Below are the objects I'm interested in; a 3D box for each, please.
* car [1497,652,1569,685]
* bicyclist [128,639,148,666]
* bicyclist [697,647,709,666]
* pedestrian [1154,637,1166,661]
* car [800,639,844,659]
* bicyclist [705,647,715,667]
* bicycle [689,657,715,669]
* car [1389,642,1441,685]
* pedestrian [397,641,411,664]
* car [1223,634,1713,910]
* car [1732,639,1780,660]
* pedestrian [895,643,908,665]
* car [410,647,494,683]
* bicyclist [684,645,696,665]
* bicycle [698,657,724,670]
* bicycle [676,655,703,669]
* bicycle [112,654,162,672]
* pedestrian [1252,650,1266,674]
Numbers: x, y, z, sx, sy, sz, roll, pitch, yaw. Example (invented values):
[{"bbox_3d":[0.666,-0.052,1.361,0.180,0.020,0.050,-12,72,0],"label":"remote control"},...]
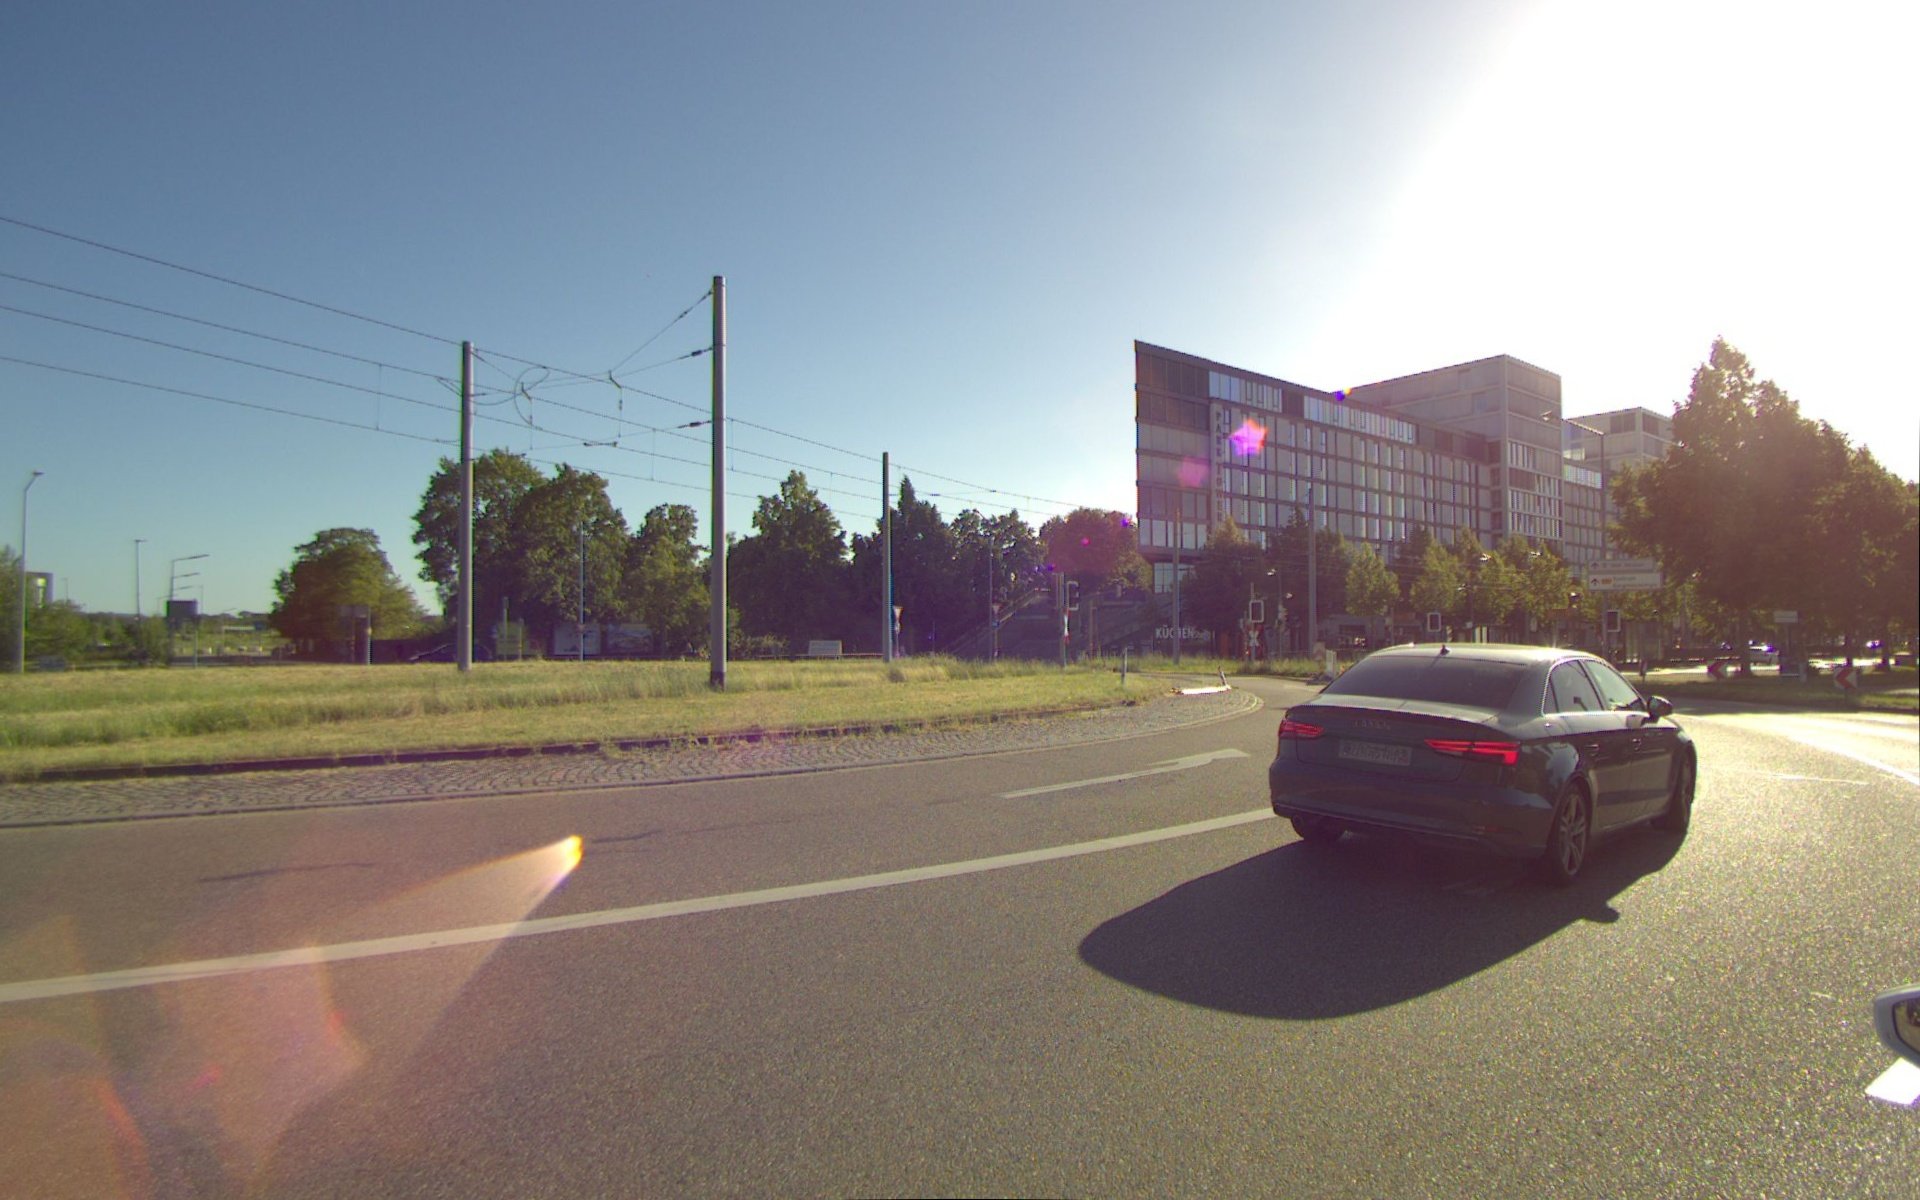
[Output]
[{"bbox_3d":[30.469,3.618,53.377,4.373,1.595,1.977,1,-3,-41],"label":"car"},{"bbox_3d":[-49.546,3.167,60.550,0.827,1.601,0.656,1,-2,-36],"label":"bicyclist"},{"bbox_3d":[-19.171,4.215,74.883,0.824,1.410,0.615,0,-2,-17],"label":"bicyclist"},{"bbox_3d":[17.423,4.250,87.303,0.826,2.040,0.633,2,-2,-36],"label":"pedestrian"},{"bbox_3d":[-12.838,4.579,93.492,3.668,1.829,1.840,-1,-2,7],"label":"car"},{"bbox_3d":[-18.442,4.212,74.174,0.707,1.410,0.615,0,-2,-17],"label":"bicyclist"},{"bbox_3d":[-19.242,4.693,74.861,1.858,0.864,0.615,0,-2,-17],"label":"bicycle"},{"bbox_3d":[18.035,2.466,39.829,1.774,1.481,3.806,0,0,25],"label":"car"},{"bbox_3d":[-50.164,4.744,90.556,0.895,2.040,0.808,3,-3,-43],"label":"pedestrian"},{"bbox_3d":[3.899,0.969,7.340,4.325,1.398,1.745,1,-2,-42],"label":"car"},{"bbox_3d":[62.789,3.890,79.228,4.370,1.595,1.978,1,-3,-39],"label":"car"},{"bbox_3d":[-4.584,4.234,78.656,0.749,1.650,0.881,0,-2,-20],"label":"pedestrian"},{"bbox_3d":[-26.881,3.398,53.252,3.864,1.808,1.764,1,-2,-25],"label":"car"},{"bbox_3d":[-20.399,4.113,75.820,0.742,1.487,0.586,1,-2,-4],"label":"bicyclist"},{"bbox_3d":[-18.393,4.689,74.154,1.858,0.864,0.615,0,-2,-17],"label":"bicycle"},{"bbox_3d":[-20.416,4.710,75.806,1.834,1.025,0.586,1,-2,-4],"label":"bicycle"},{"bbox_3d":[-49.572,3.787,60.542,2.241,1.001,0.656,1,-2,-36],"label":"bicycle"},{"bbox_3d":[18.383,3.798,61.824,0.672,1.485,0.550,2,-2,-40],"label":"pedestrian"}]
